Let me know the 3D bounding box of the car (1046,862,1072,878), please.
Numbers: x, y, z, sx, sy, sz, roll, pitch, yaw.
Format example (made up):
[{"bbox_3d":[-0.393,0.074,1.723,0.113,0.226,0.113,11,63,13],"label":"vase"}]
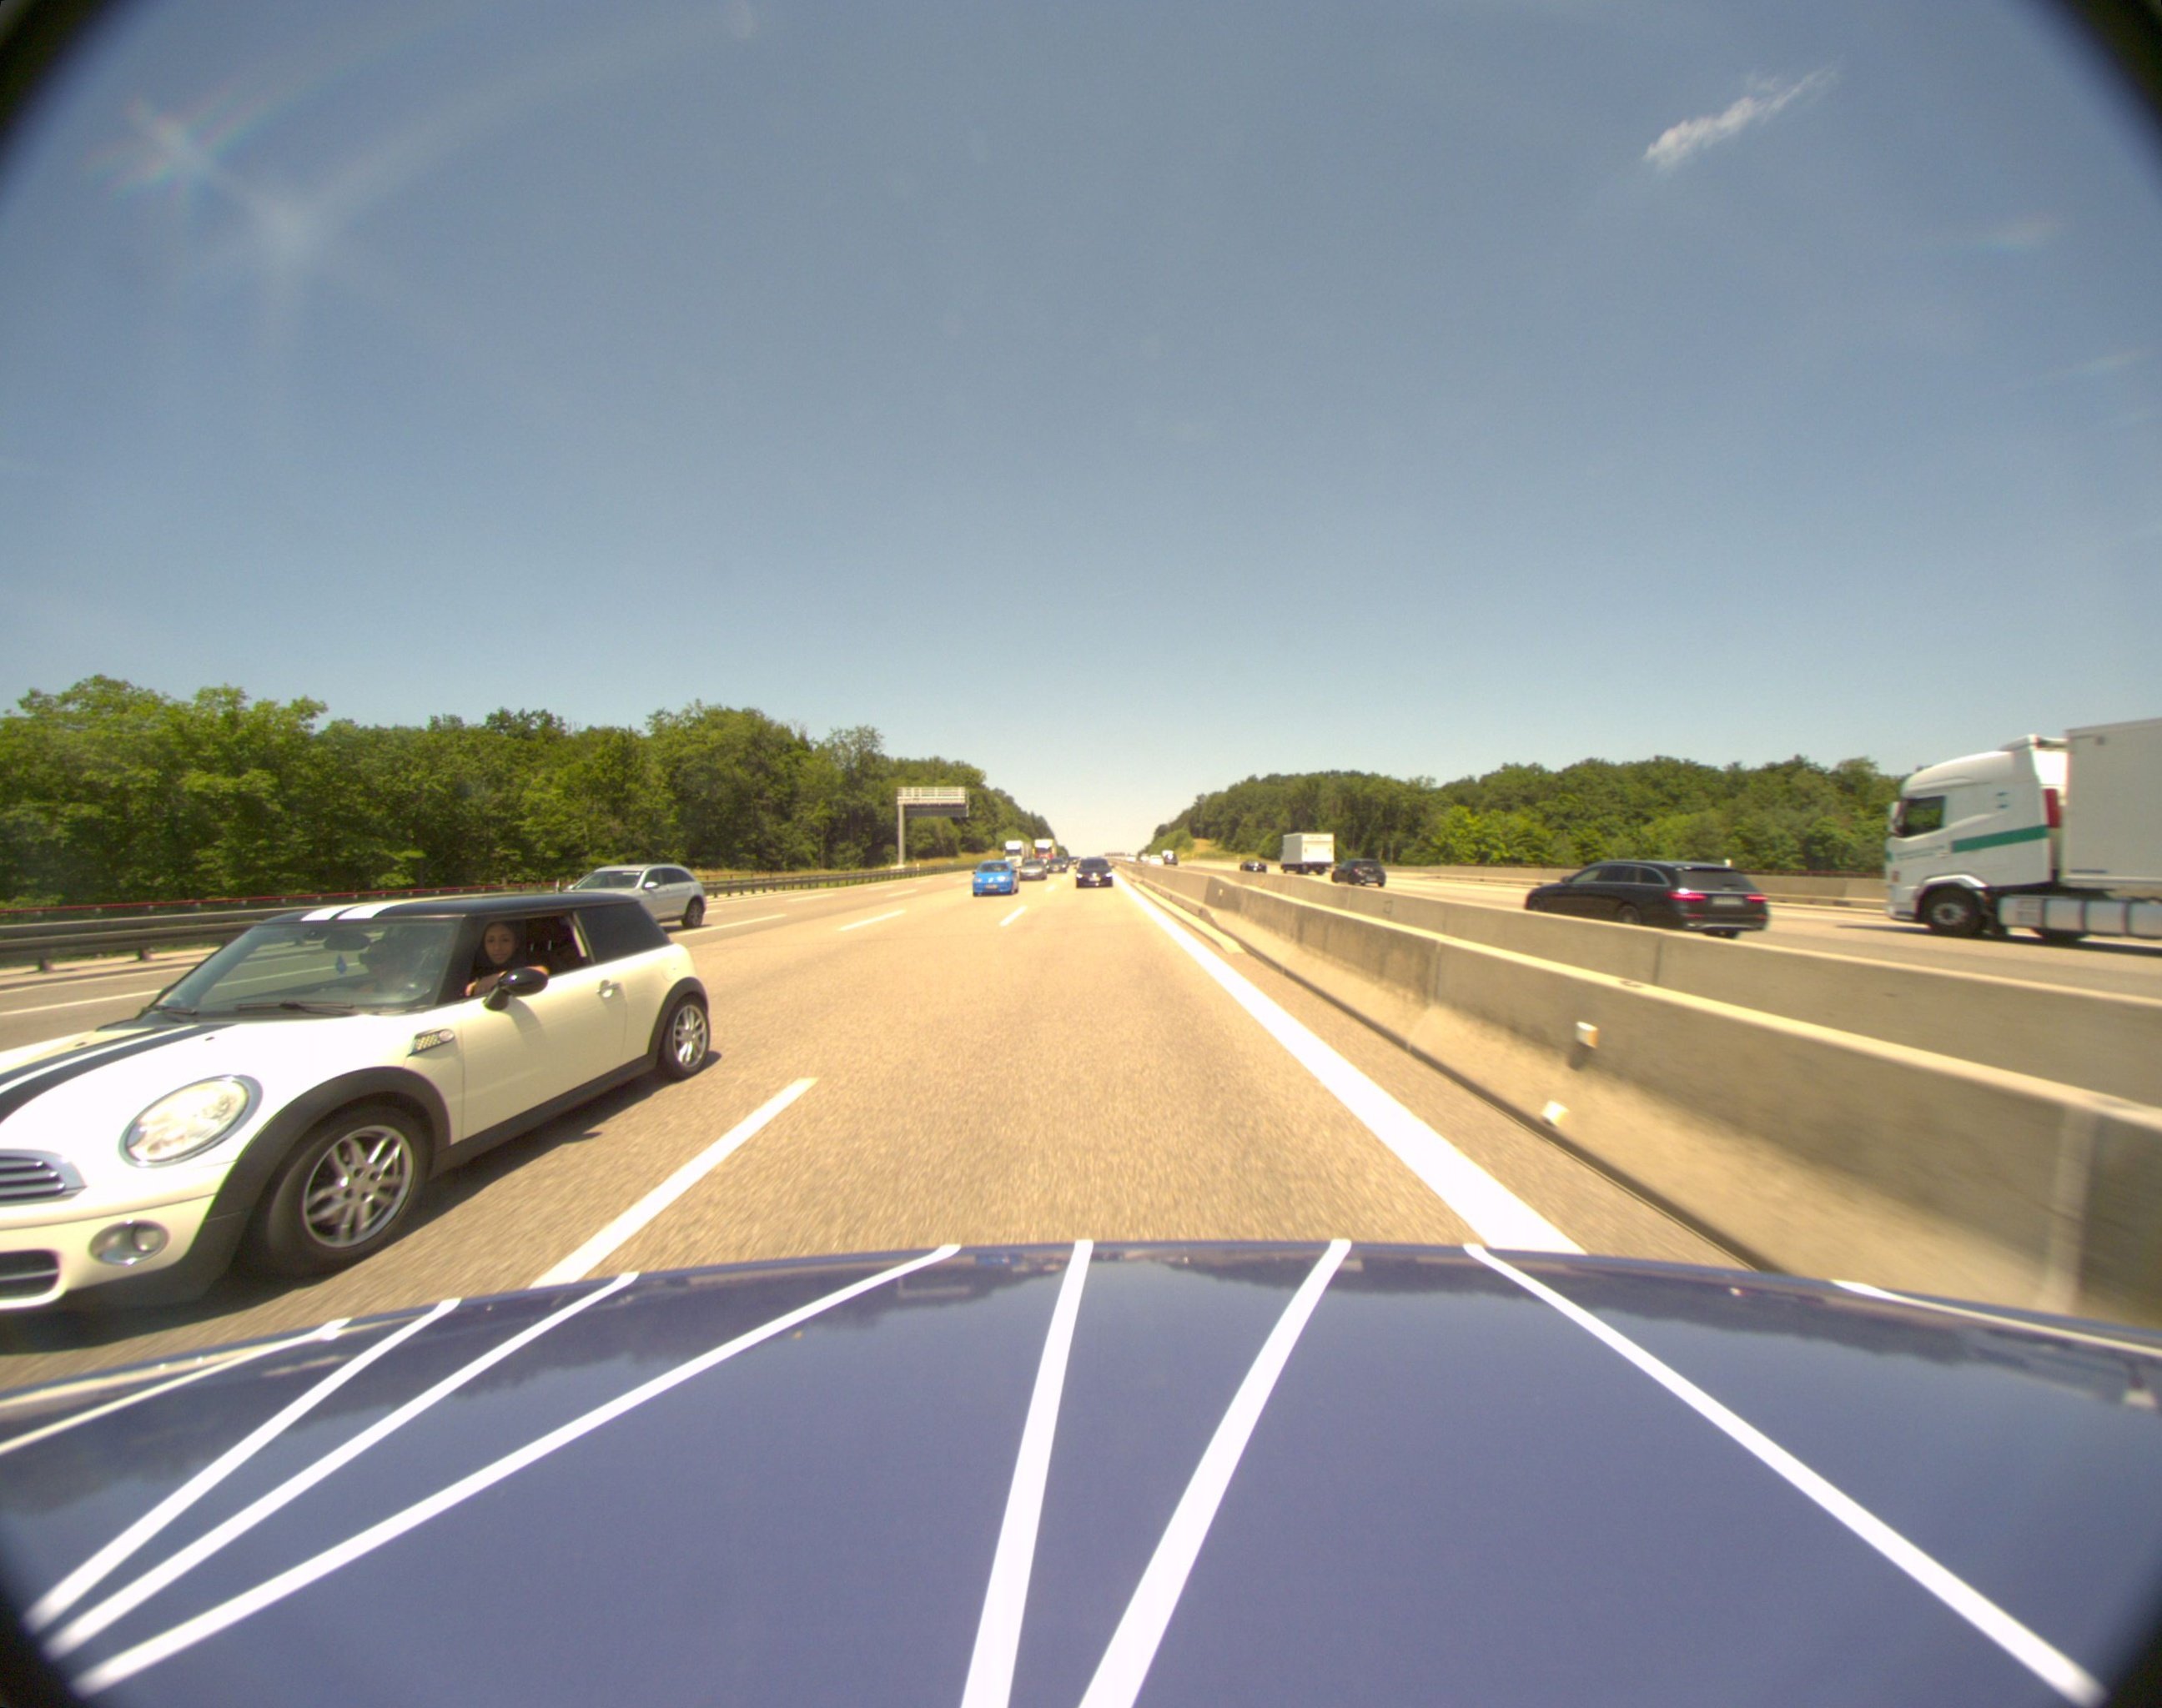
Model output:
[{"bbox_3d":[-2.046,1.491,72.529,1.971,1.444,5.226,-1,-1,3],"label":"car"}]

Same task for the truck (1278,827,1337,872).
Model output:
[{"bbox_3d":[19.547,-0.365,66.077,2.546,3.550,8.576,1,0,0],"label":"truck"}]

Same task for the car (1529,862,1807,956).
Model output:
[{"bbox_3d":[11.006,0.934,14.816,1.802,1.472,4.720,1,0,1],"label":"car"}]

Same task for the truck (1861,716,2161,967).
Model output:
[{"bbox_3d":[18.875,-0.185,13.098,2.722,4.075,7.877,1,0,1],"label":"truck"}]

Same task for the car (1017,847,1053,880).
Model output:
[{"bbox_3d":[-3.080,0.591,51.540,1.966,2.041,4.784,-2,0,1],"label":"car"}]

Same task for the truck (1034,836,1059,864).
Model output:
[{"bbox_3d":[-5.089,-0.546,113.011,3.018,3.957,7.542,-2,-1,1],"label":"truck"}]

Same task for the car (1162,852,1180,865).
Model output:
[{"bbox_3d":[12.614,0.676,106.783,1.998,1.724,4.925,-1,0,1],"label":"car"}]

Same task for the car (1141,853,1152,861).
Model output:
[{"bbox_3d":[14.487,0.701,167.740,1.998,1.777,5.319,1,0,1],"label":"car"}]

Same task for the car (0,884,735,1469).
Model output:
[{"bbox_3d":[-3.735,1.005,4.133,1.846,1.542,4.000,-2,-1,0],"label":"car"}]

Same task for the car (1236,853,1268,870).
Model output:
[{"bbox_3d":[15.101,0.633,67.300,1.802,1.368,4.531,0,0,1],"label":"car"}]

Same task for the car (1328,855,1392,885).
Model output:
[{"bbox_3d":[14.701,0.805,40.279,1.802,1.472,4.397,1,0,1],"label":"car"}]

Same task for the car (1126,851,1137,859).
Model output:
[{"bbox_3d":[10.174,0.189,154.253,1.853,1.514,5.319,1,0,1],"label":"car"}]

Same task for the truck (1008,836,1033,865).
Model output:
[{"bbox_3d":[-9.359,-0.412,118.784,2.728,4.135,10.972,-2,-1,1],"label":"truck"}]

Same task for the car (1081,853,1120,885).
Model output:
[{"bbox_3d":[0.953,0.714,37.569,1.777,1.425,4.144,-2,-1,1],"label":"car"}]

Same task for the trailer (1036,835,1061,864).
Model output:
[{"bbox_3d":[-4.958,-0.511,119.791,2.926,4.118,14.852,-1,-1,1],"label":"trailer"}]

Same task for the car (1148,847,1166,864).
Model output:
[{"bbox_3d":[9.222,0.219,92.307,1.778,1.868,5.212,-2,-1,2],"label":"car"}]

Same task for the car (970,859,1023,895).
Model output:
[{"bbox_3d":[-3.563,0.947,32.623,1.741,1.403,4.000,-1,0,1],"label":"car"}]

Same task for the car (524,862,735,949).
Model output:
[{"bbox_3d":[-10.466,1.101,18.229,1.805,1.720,5.240,-2,-1,1],"label":"car"}]

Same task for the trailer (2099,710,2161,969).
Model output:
[{"bbox_3d":[18.816,-0.211,5.876,2.649,4.200,14.361,1,0,1],"label":"trailer"}]

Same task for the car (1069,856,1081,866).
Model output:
[{"bbox_3d":[-1.000,1.246,133.140,1.910,1.503,4.161,-2,-1,2],"label":"car"}]

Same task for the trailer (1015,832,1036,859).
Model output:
[{"bbox_3d":[-9.203,-1.340,126.651,2.585,4.045,8.385,-2,-1,1],"label":"trailer"}]

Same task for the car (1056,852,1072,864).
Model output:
[{"bbox_3d":[-2.280,0.574,101.707,1.910,1.503,4.161,-2,-1,2],"label":"car"}]
